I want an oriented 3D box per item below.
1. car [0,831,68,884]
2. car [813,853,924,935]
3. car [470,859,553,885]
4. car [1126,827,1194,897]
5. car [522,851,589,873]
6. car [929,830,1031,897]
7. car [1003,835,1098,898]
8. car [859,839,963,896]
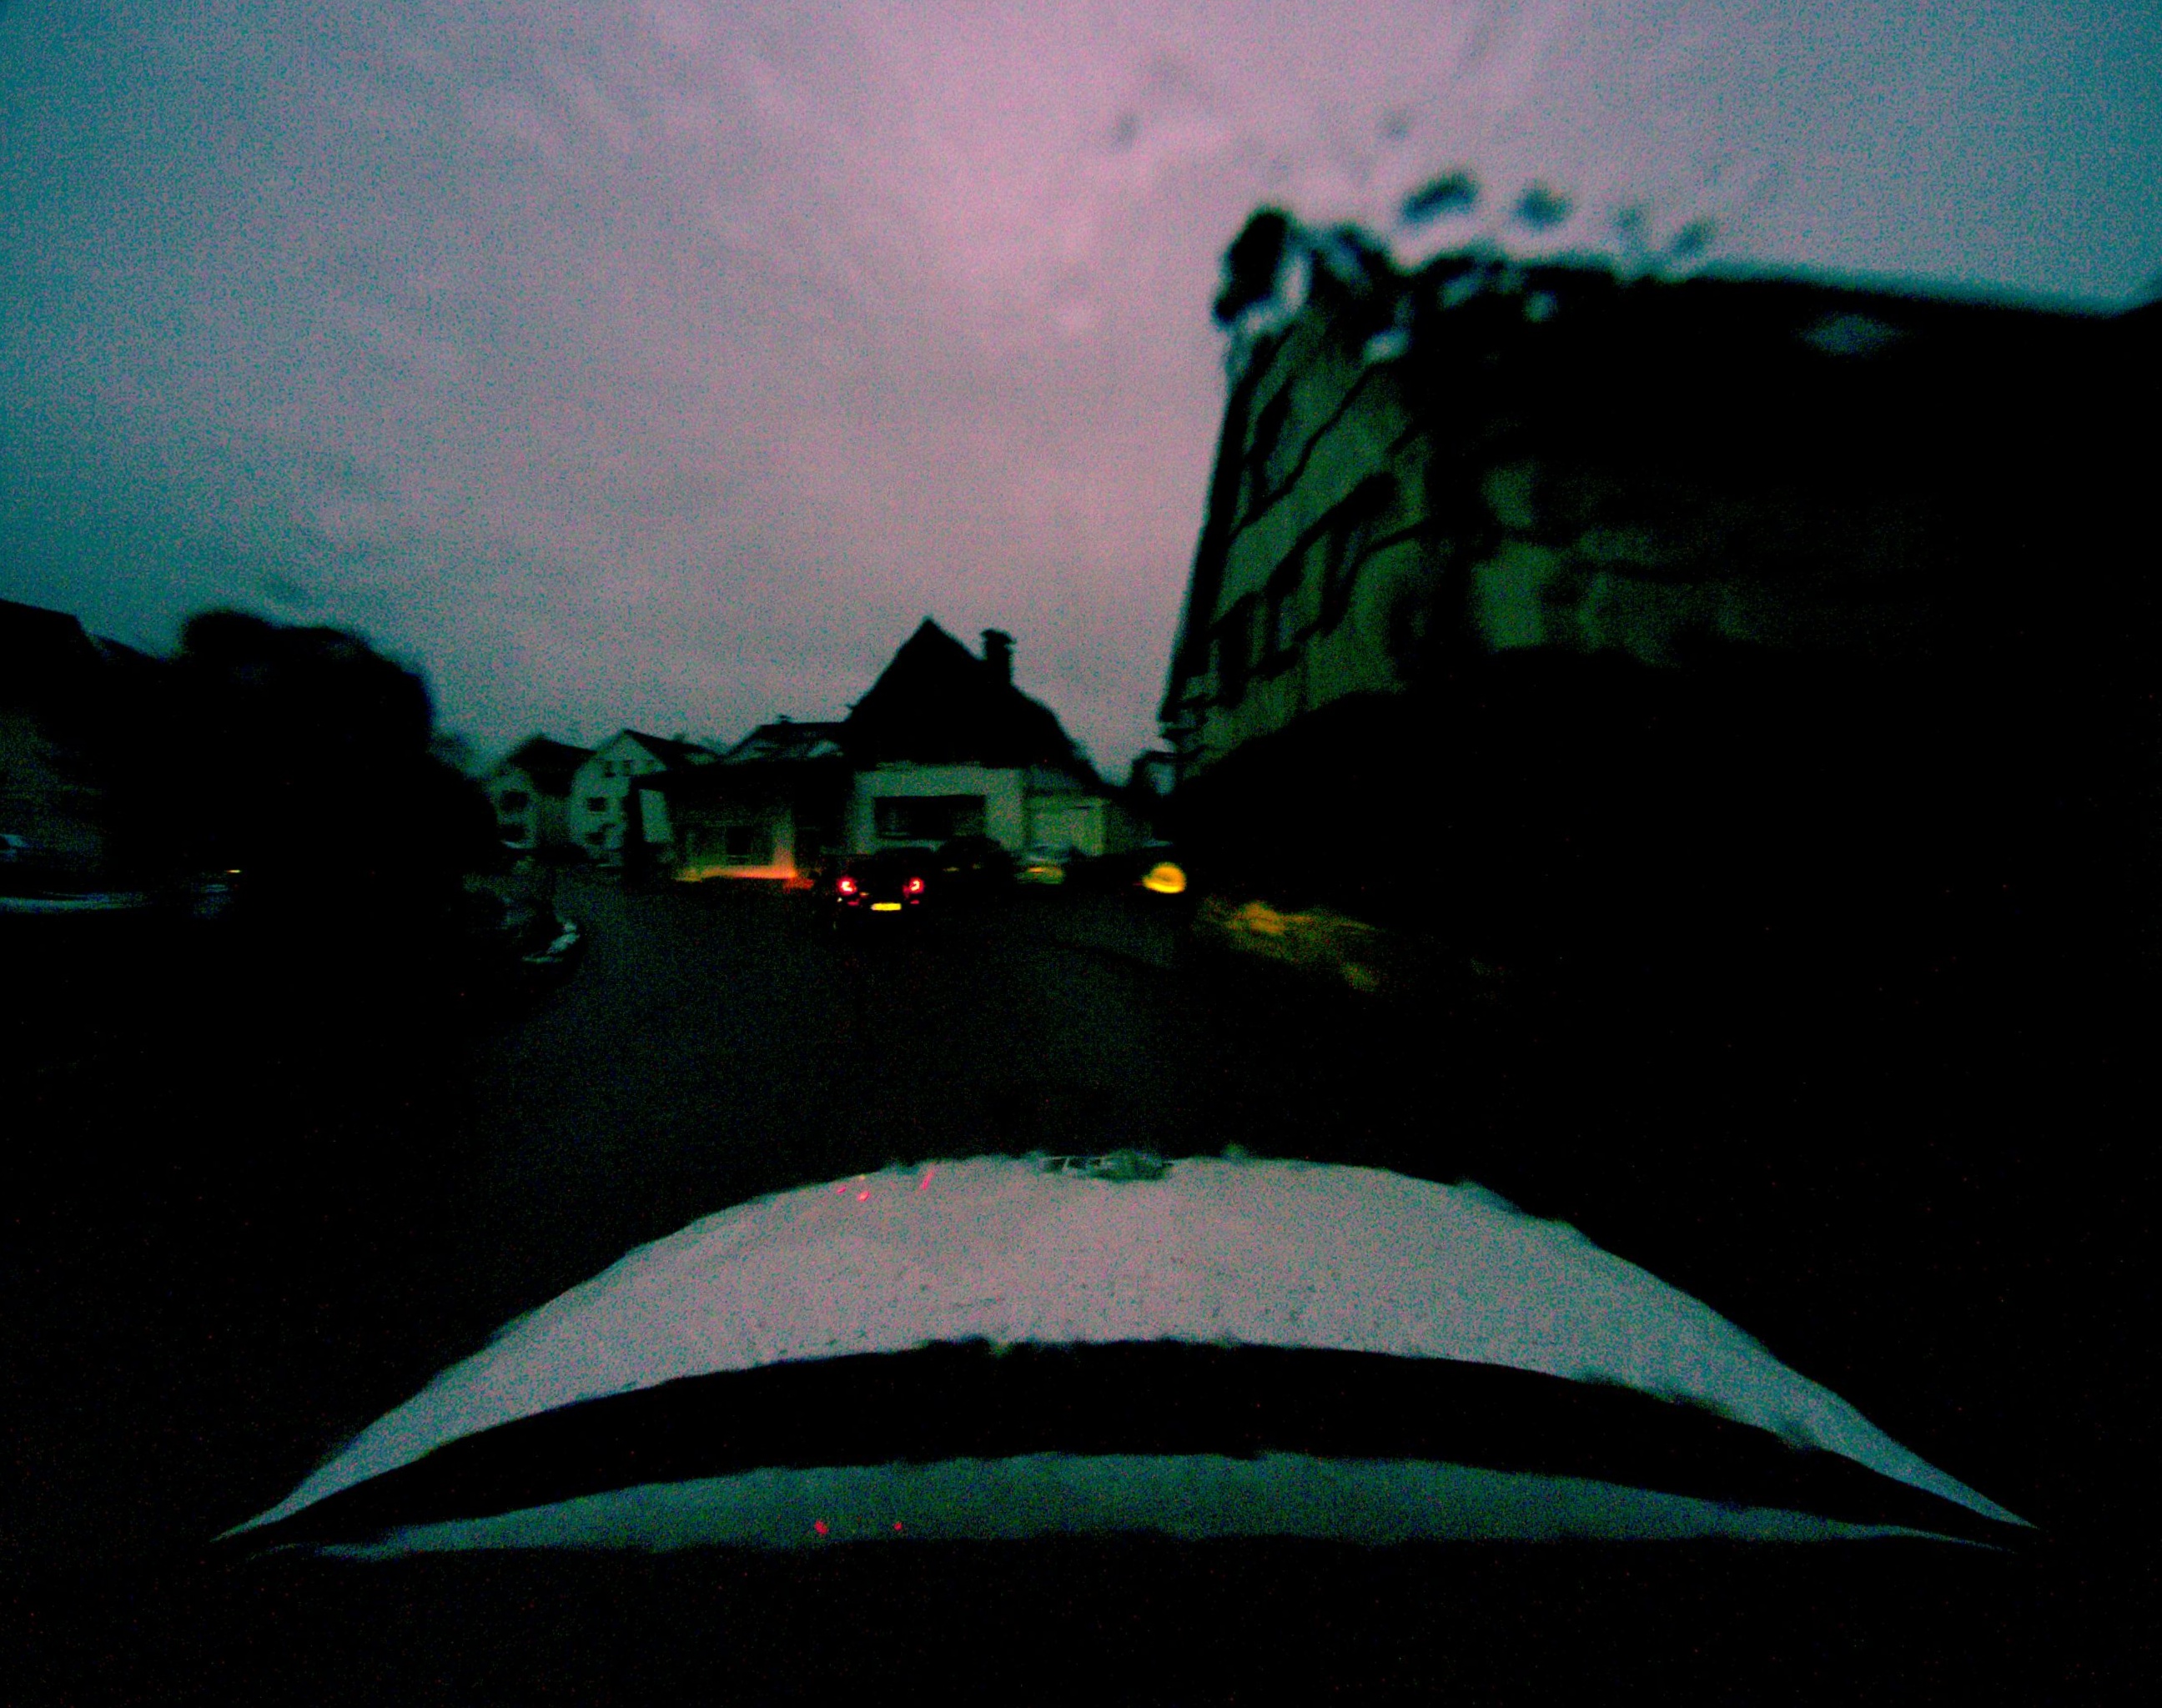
[{"bbox_3d":[-30.792,0.107,21.935,1.799,1.462,4.021,-1,0,22],"label":"car"},{"bbox_3d":[-4.450,0.720,16.691,1.554,1.466,3.668,-1,0,-25],"label":"car"},{"bbox_3d":[-39.820,1.248,57.011,4.515,1.628,1.818,-1,2,4],"label":"car"},{"bbox_3d":[2.175,0.141,22.430,1.585,1.515,3.992,-4,4,6],"label":"car"},{"bbox_3d":[-40.602,0.606,62.927,3.968,1.566,1.818,-1,2,4],"label":"car"},{"bbox_3d":[-3.161,0.233,26.432,1.837,1.660,4.492,-4,4,11],"label":"car"},{"bbox_3d":[-0.806,0.299,24.622,1.797,1.420,4.053,-4,4,12],"label":"car"},{"bbox_3d":[-5.623,0.383,27.480,1.870,1.449,3.909,-4,4,12],"label":"car"}]
